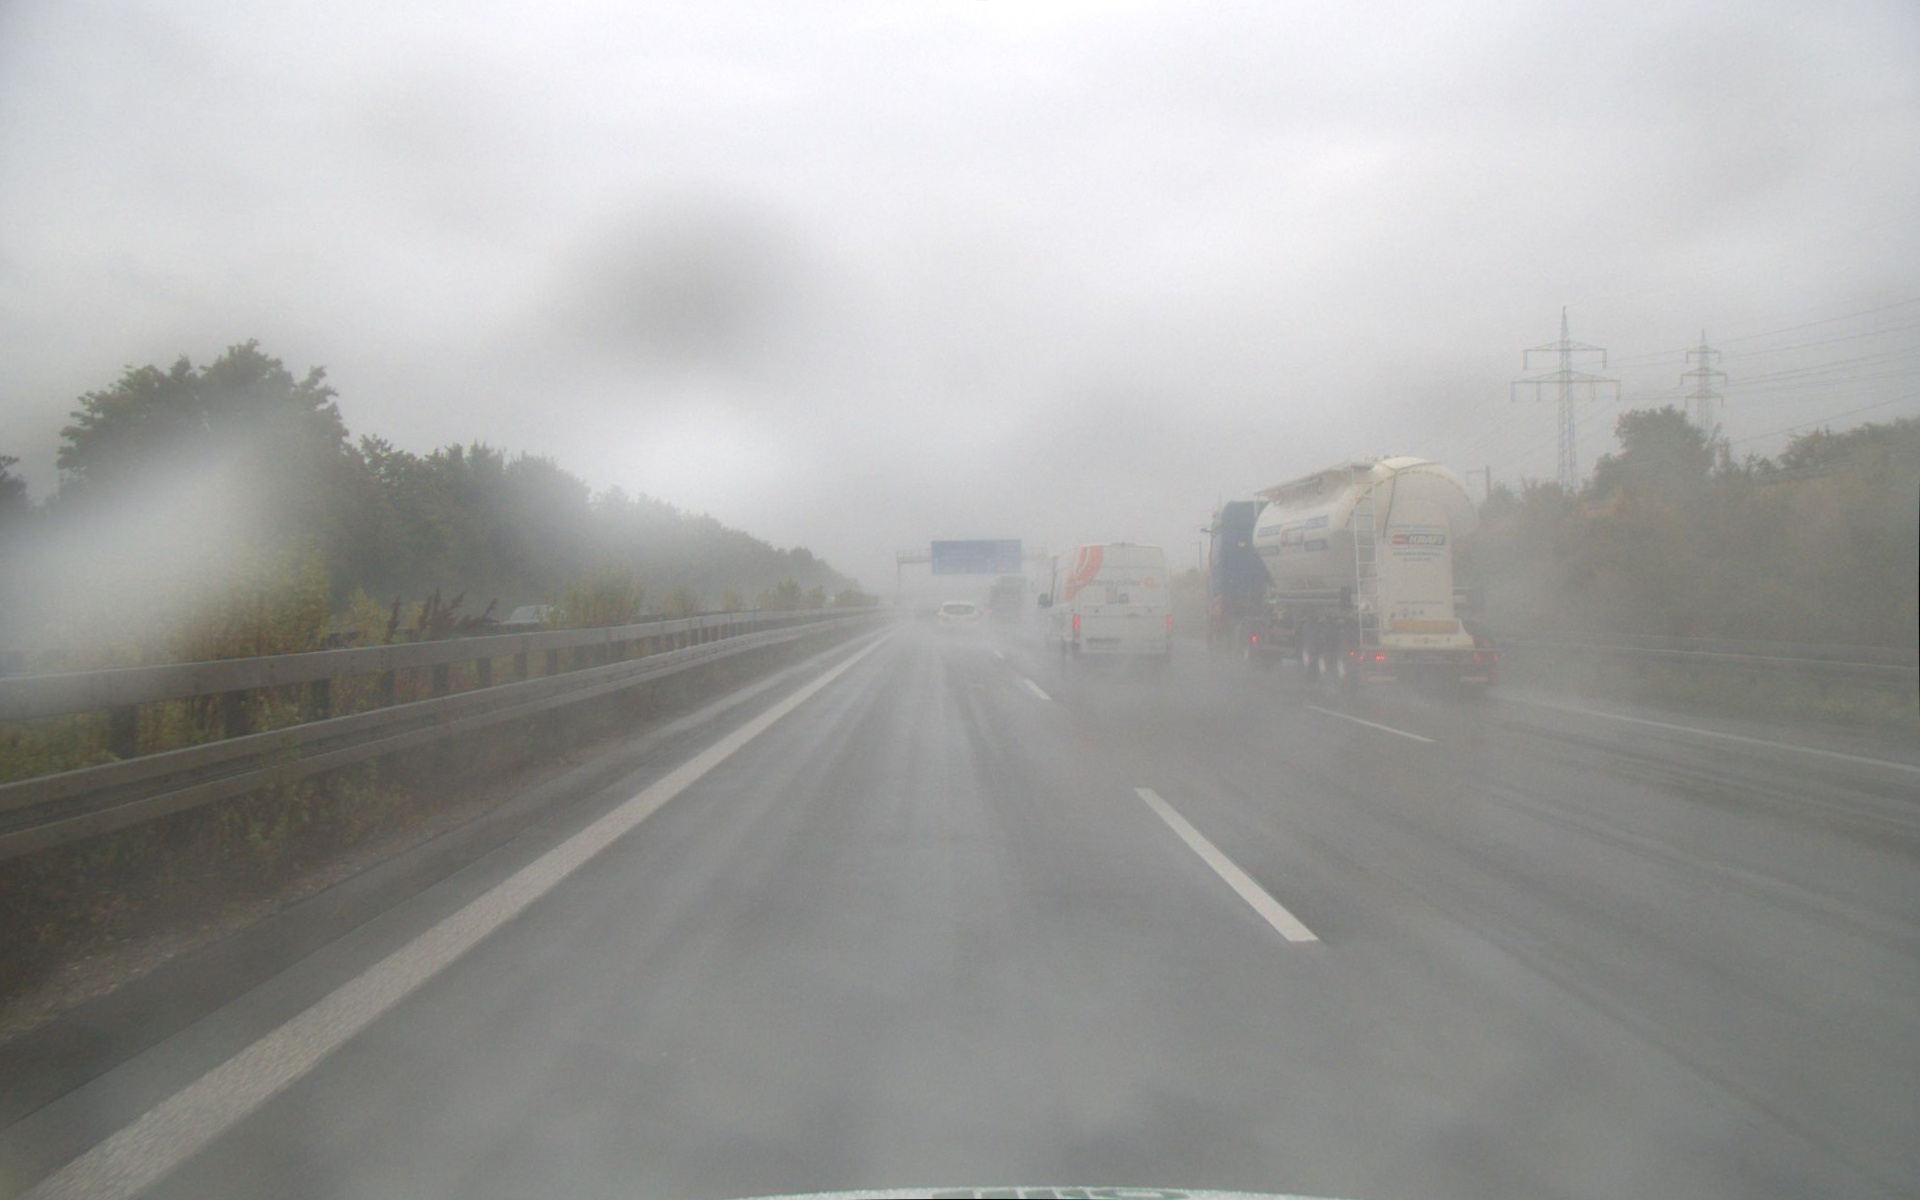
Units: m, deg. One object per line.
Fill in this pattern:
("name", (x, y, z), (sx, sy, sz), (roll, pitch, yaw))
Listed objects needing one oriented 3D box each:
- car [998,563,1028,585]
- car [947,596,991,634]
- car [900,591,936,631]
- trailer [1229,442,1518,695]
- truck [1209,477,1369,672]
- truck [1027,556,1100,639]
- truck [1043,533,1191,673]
("car", (5.172, -2.492, 161.995), (2.731, 2.049, 4.992), (1, 0, -1))
("car", (0.311, 0.543, 62.500), (1.573, 1.361, 3.847), (1, 0, -1))
("car", (-2.032, 0.521, 80.794), (1.667, 1.850, 3.861), (1, 0, 0))
("trailer", (7.420, -0.534, 31.614), (2.447, 3.950, 11.063), (1, 0, -2))
("truck", (7.302, -0.553, 37.305), (2.446, 4.053, 5.074), (1, 0, -2))
("truck", (6.198, -0.080, 102.116), (2.978, 4.668, 16.344), (1, -1, -2))
("truck", (3.012, 0.043, 33.058), (2.370, 2.536, 5.559), (1, 0, 0))
